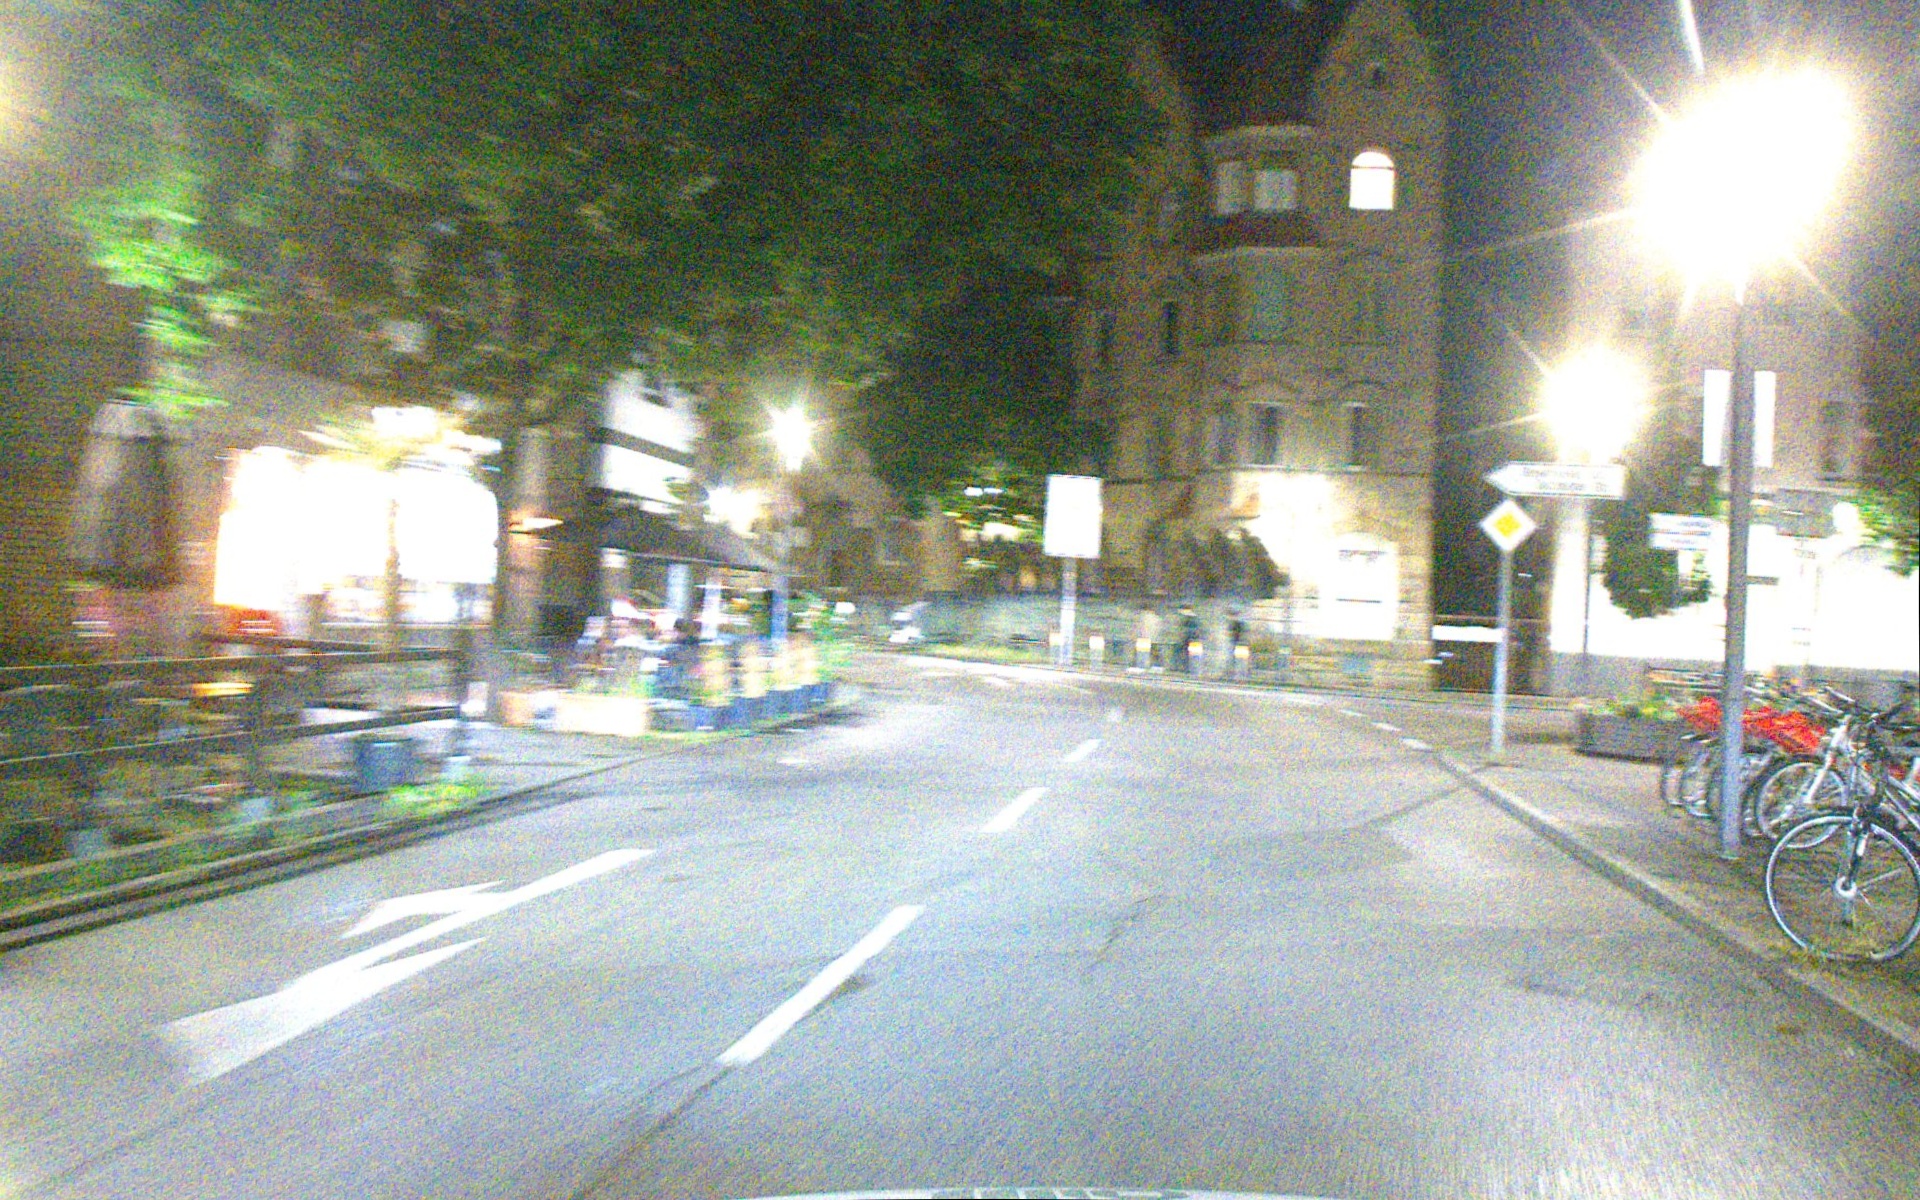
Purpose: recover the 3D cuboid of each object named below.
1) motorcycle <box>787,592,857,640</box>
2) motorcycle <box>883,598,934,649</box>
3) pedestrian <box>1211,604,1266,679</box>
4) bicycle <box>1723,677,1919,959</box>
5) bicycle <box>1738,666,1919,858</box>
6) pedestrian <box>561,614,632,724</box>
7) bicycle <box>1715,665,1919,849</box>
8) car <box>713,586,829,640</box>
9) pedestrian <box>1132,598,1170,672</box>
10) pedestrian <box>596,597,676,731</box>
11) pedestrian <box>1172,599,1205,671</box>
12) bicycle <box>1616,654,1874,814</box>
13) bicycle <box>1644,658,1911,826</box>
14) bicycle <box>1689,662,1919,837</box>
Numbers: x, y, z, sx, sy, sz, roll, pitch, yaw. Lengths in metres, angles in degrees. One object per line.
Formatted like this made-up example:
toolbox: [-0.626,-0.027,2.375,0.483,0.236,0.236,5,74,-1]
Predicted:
motorcycle: [-4.272,0.488,51.320,0.909,1.430,2.045,3,1,44]
motorcycle: [-1.453,0.672,46.901,0.745,1.376,1.945,3,0,19]
pedestrian: [6.434,0.957,38.199,0.947,1.659,0.806,3,-1,36]
bicycle: [4.541,0.990,7.457,1.825,1.154,0.726,3,0,6]
bicycle: [6.210,1.086,11.013,1.734,1.171,0.583,3,0,12]
pedestrian: [-4.097,0.768,18.684,0.562,1.184,0.678,3,0,4]
bicycle: [6.334,1.103,11.639,1.734,1.171,0.583,3,0,12]
car: [-6.147,0.399,53.411,1.719,1.527,4.409,3,0,-37]
pedestrian: [4.595,0.848,39.822,0.502,1.738,0.696,3,0,-35]
pedestrian: [-3.538,0.691,18.091,0.662,1.402,0.577,3,0,4]
pedestrian: [5.669,0.865,41.061,0.472,1.738,0.564,3,0,-35]
bicycle: [6.514,1.096,13.799,1.745,1.171,0.760,3,0,6]
bicycle: [6.402,1.097,13.011,1.734,1.171,0.614,3,0,6]
bicycle: [6.444,1.102,12.304,1.734,1.171,0.582,3,0,6]
